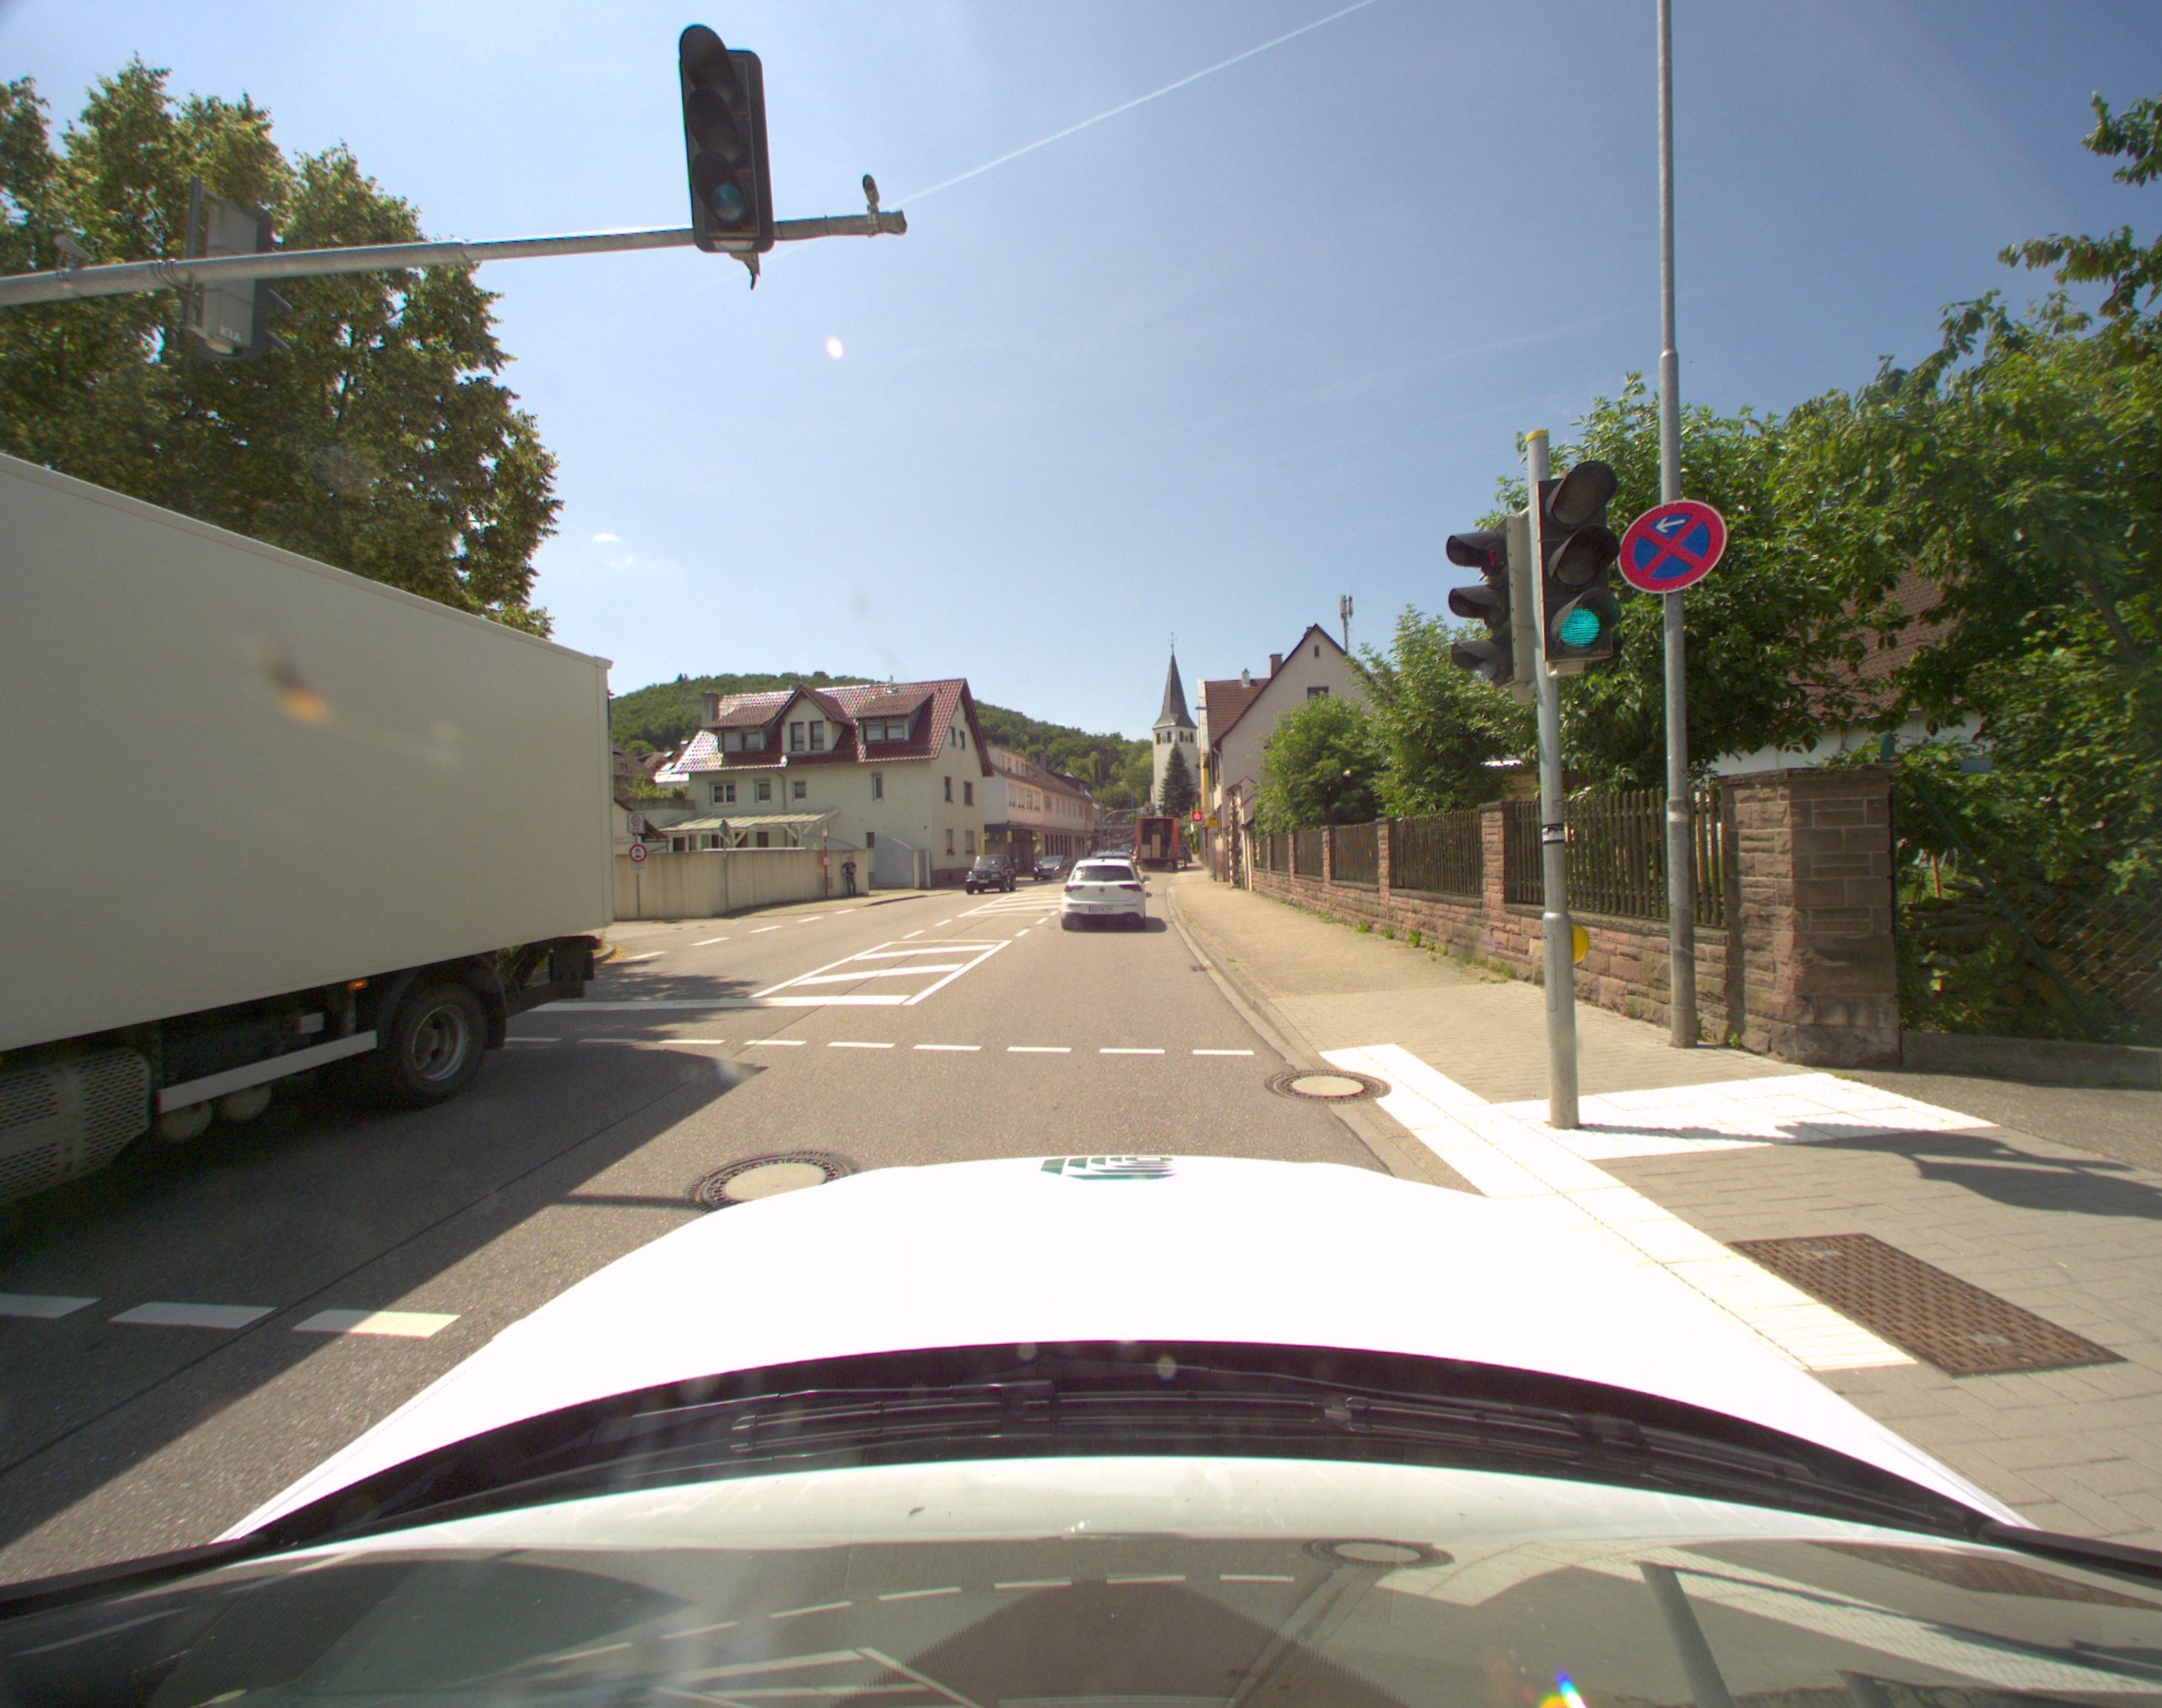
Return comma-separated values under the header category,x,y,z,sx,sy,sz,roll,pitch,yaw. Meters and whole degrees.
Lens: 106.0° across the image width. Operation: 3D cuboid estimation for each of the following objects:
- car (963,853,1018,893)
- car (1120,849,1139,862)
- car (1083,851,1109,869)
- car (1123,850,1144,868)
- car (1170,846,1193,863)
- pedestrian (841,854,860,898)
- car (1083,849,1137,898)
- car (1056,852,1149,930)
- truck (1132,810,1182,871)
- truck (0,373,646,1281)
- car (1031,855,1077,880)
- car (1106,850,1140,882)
category,x,y,z,sx,sy,sz,roll,pitch,yaw
car,-3.936,0.793,35.939,1.731,1.651,3.671,-2,0,3
car,6.234,0.201,104.046,1.852,1.442,4.228,-3,-1,10
car,1.419,0.574,73.670,1.785,1.508,4.142,-3,-1,8
car,4.870,0.473,75.902,1.807,1.519,4.004,-3,-1,3
car,9.555,0.034,77.625,1.807,1.519,4.004,-3,-1,3
pedestrian,-9.433,0.892,33.351,0.430,1.764,0.560,-2,0,22
car,1.147,0.695,30.676,1.807,1.628,4.004,-3,-1,3
car,0.551,0.749,18.078,1.807,1.519,4.004,-1,-1,4
truck,5.870,-0.947,62.576,3.350,4.170,9.534,-3,-1,6
truck,-5.062,-0.055,3.893,2.493,3.235,6.041,-3,-1,1
car,-1.674,0.813,51.366,1.850,1.442,4.231,-3,-1,12
car,2.404,0.681,46.229,1.807,1.628,4.004,-3,-1,3
